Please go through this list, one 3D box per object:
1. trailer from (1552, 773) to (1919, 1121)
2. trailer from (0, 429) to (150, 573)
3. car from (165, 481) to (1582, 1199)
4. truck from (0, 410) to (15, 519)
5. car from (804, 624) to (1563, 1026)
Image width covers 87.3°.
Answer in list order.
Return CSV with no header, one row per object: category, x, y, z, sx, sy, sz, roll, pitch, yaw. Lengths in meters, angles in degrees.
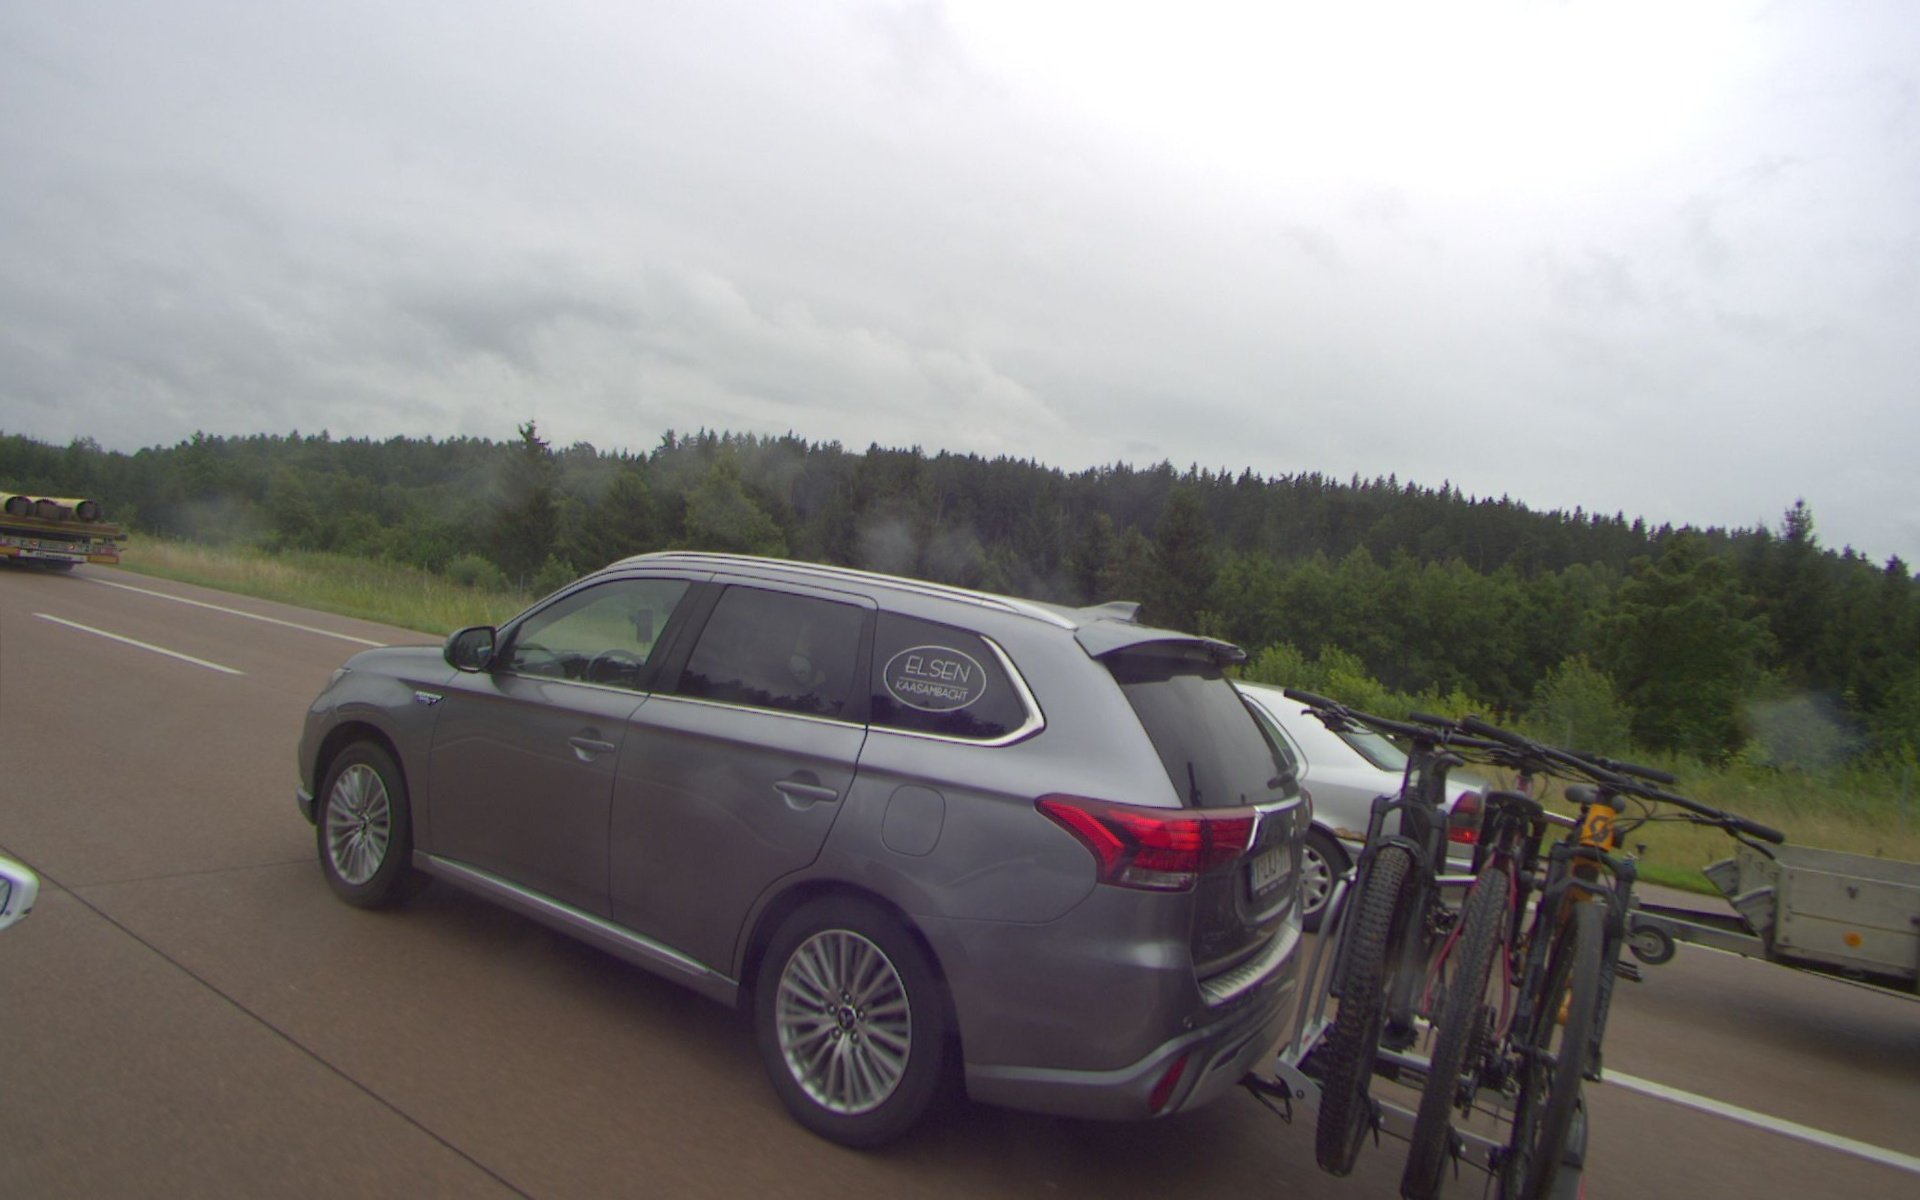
trailer,5.518,1.881,4.761,4.562,1.179,1.976,7,-2,32
trailer,-24.460,-2.552,25.165,11.212,2.706,2.887,5,-3,32
car,-0.828,0.545,4.263,5.724,1.610,1.998,5,-3,31
truck,-30.847,-3.769,29.252,6.874,4.009,2.903,5,-2,32
car,1.389,1.269,7.214,4.894,1.630,1.701,5,-2,32
